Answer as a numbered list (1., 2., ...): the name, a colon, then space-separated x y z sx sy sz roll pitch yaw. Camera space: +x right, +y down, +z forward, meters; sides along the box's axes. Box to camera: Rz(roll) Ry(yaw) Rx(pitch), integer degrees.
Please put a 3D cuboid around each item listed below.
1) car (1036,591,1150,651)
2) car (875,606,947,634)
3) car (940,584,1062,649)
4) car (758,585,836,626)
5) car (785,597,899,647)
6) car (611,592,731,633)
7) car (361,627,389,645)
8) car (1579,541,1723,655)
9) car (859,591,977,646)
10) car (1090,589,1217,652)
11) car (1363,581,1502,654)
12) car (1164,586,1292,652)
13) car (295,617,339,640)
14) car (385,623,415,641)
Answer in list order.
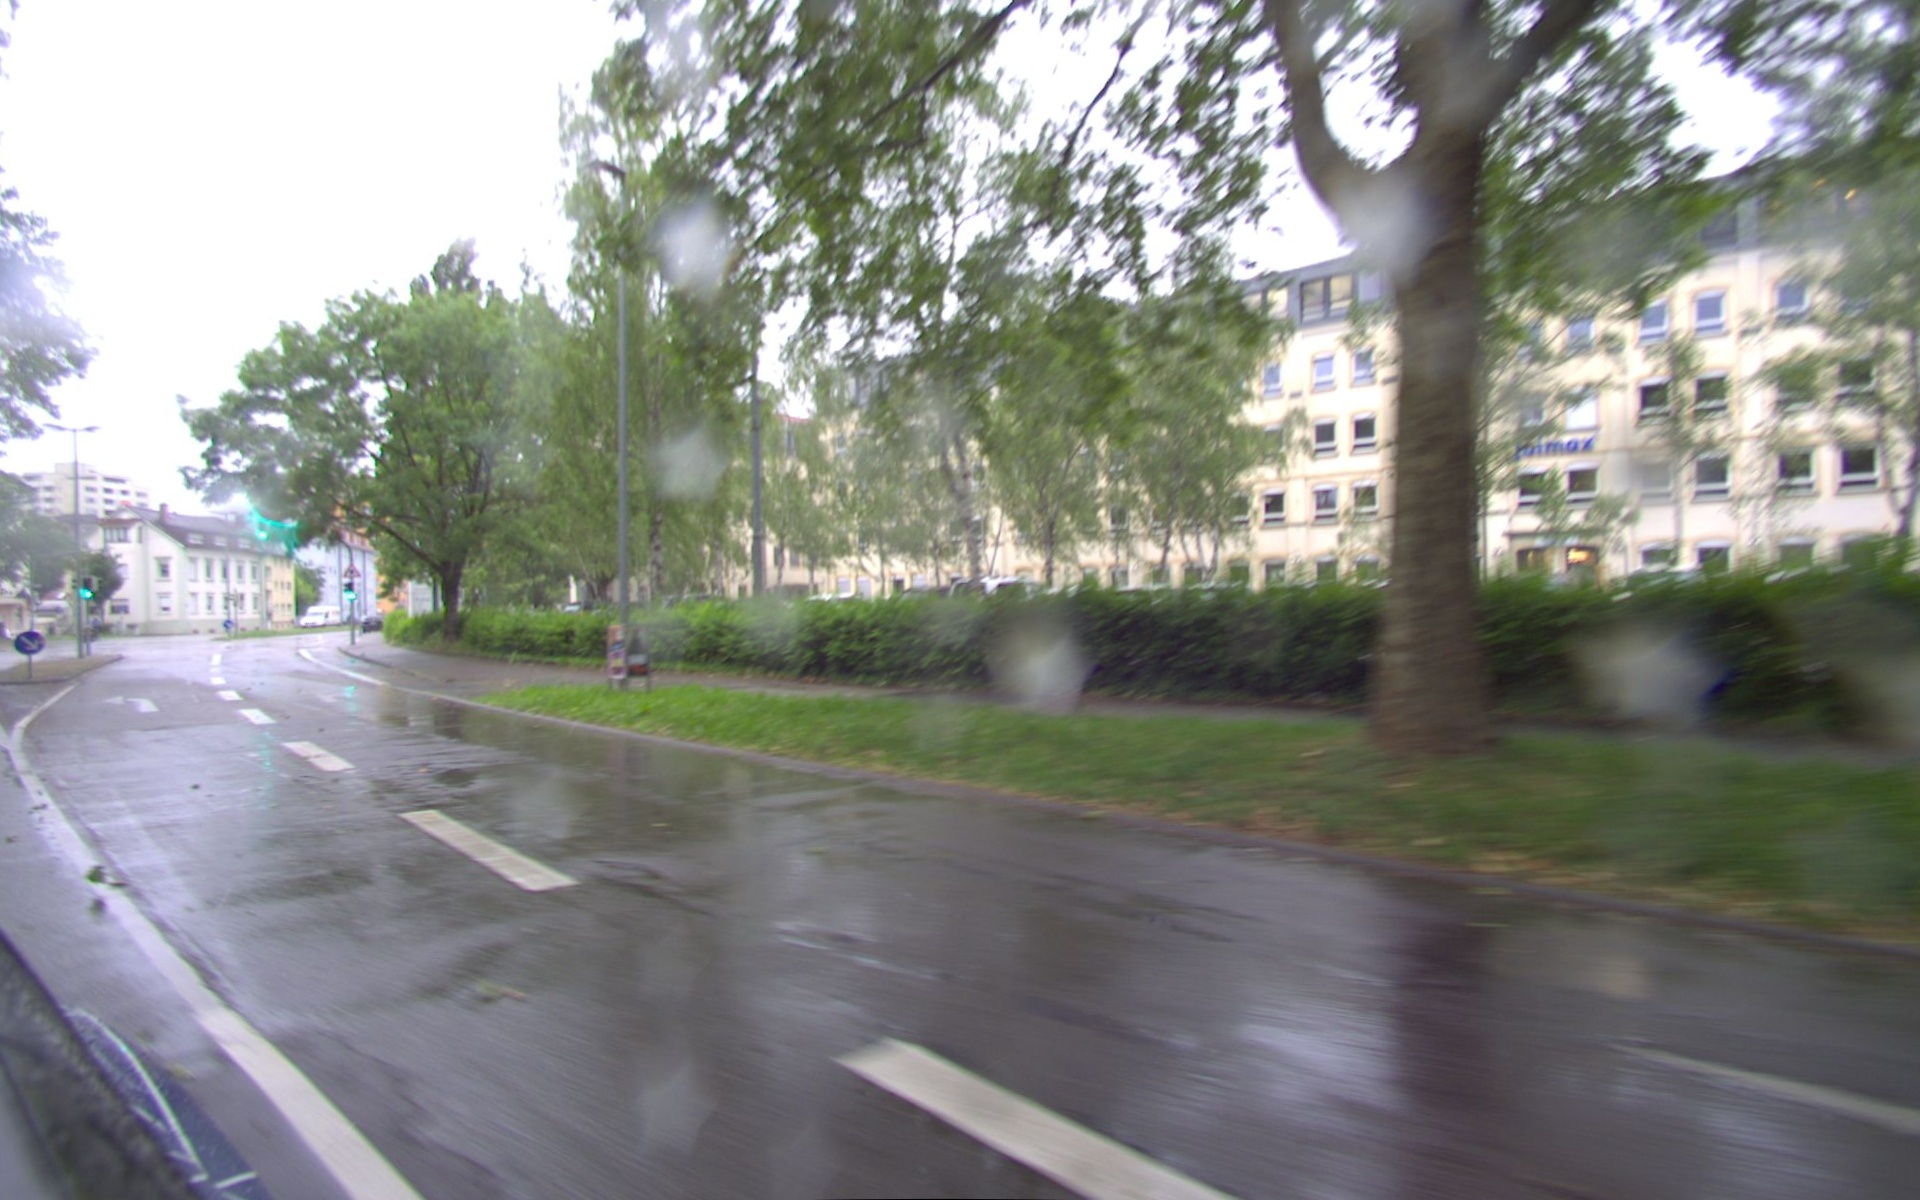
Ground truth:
1. car: 4.016 0.598 30.164 1.716 1.611 3.771 -2 0 37
2. car: -2.779 1.134 57.845 1.997 1.530 3.949 -2 -1 38
3. car: 1.343 0.478 31.676 1.851 1.847 3.951 -2 0 36
4. car: -13.660 0.407 85.294 2.834 3.217 6.138 -2 0 37
5. car: -4.301 0.791 37.329 1.996 1.650 3.951 -2 0 36
6. car: -10.760 0.462 37.830 3.936 1.348 1.719 -2 0 -39
7. car: -50.812 3.103 87.931 1.523 1.408 4.208 -3 0 -23
8. car: 14.575 -0.011 21.265 1.999 2.149 3.945 -2 -2 41
9. car: -1.343 0.608 33.879 1.708 1.650 3.947 -2 0 40
10. car: 5.618 0.550 29.060 1.853 1.611 3.947 -2 0 40
11. car: 11.376 0.383 24.245 1.885 1.562 3.944 -2 0 42
12. car: 7.417 0.484 27.819 1.853 1.611 3.947 -2 0 40
13. car: -69.207 3.066 108.979 2.160 2.272 4.894 -2 0 -10
14. car: -54.368 3.097 98.272 1.965 1.579 4.013 -2 0 -22
